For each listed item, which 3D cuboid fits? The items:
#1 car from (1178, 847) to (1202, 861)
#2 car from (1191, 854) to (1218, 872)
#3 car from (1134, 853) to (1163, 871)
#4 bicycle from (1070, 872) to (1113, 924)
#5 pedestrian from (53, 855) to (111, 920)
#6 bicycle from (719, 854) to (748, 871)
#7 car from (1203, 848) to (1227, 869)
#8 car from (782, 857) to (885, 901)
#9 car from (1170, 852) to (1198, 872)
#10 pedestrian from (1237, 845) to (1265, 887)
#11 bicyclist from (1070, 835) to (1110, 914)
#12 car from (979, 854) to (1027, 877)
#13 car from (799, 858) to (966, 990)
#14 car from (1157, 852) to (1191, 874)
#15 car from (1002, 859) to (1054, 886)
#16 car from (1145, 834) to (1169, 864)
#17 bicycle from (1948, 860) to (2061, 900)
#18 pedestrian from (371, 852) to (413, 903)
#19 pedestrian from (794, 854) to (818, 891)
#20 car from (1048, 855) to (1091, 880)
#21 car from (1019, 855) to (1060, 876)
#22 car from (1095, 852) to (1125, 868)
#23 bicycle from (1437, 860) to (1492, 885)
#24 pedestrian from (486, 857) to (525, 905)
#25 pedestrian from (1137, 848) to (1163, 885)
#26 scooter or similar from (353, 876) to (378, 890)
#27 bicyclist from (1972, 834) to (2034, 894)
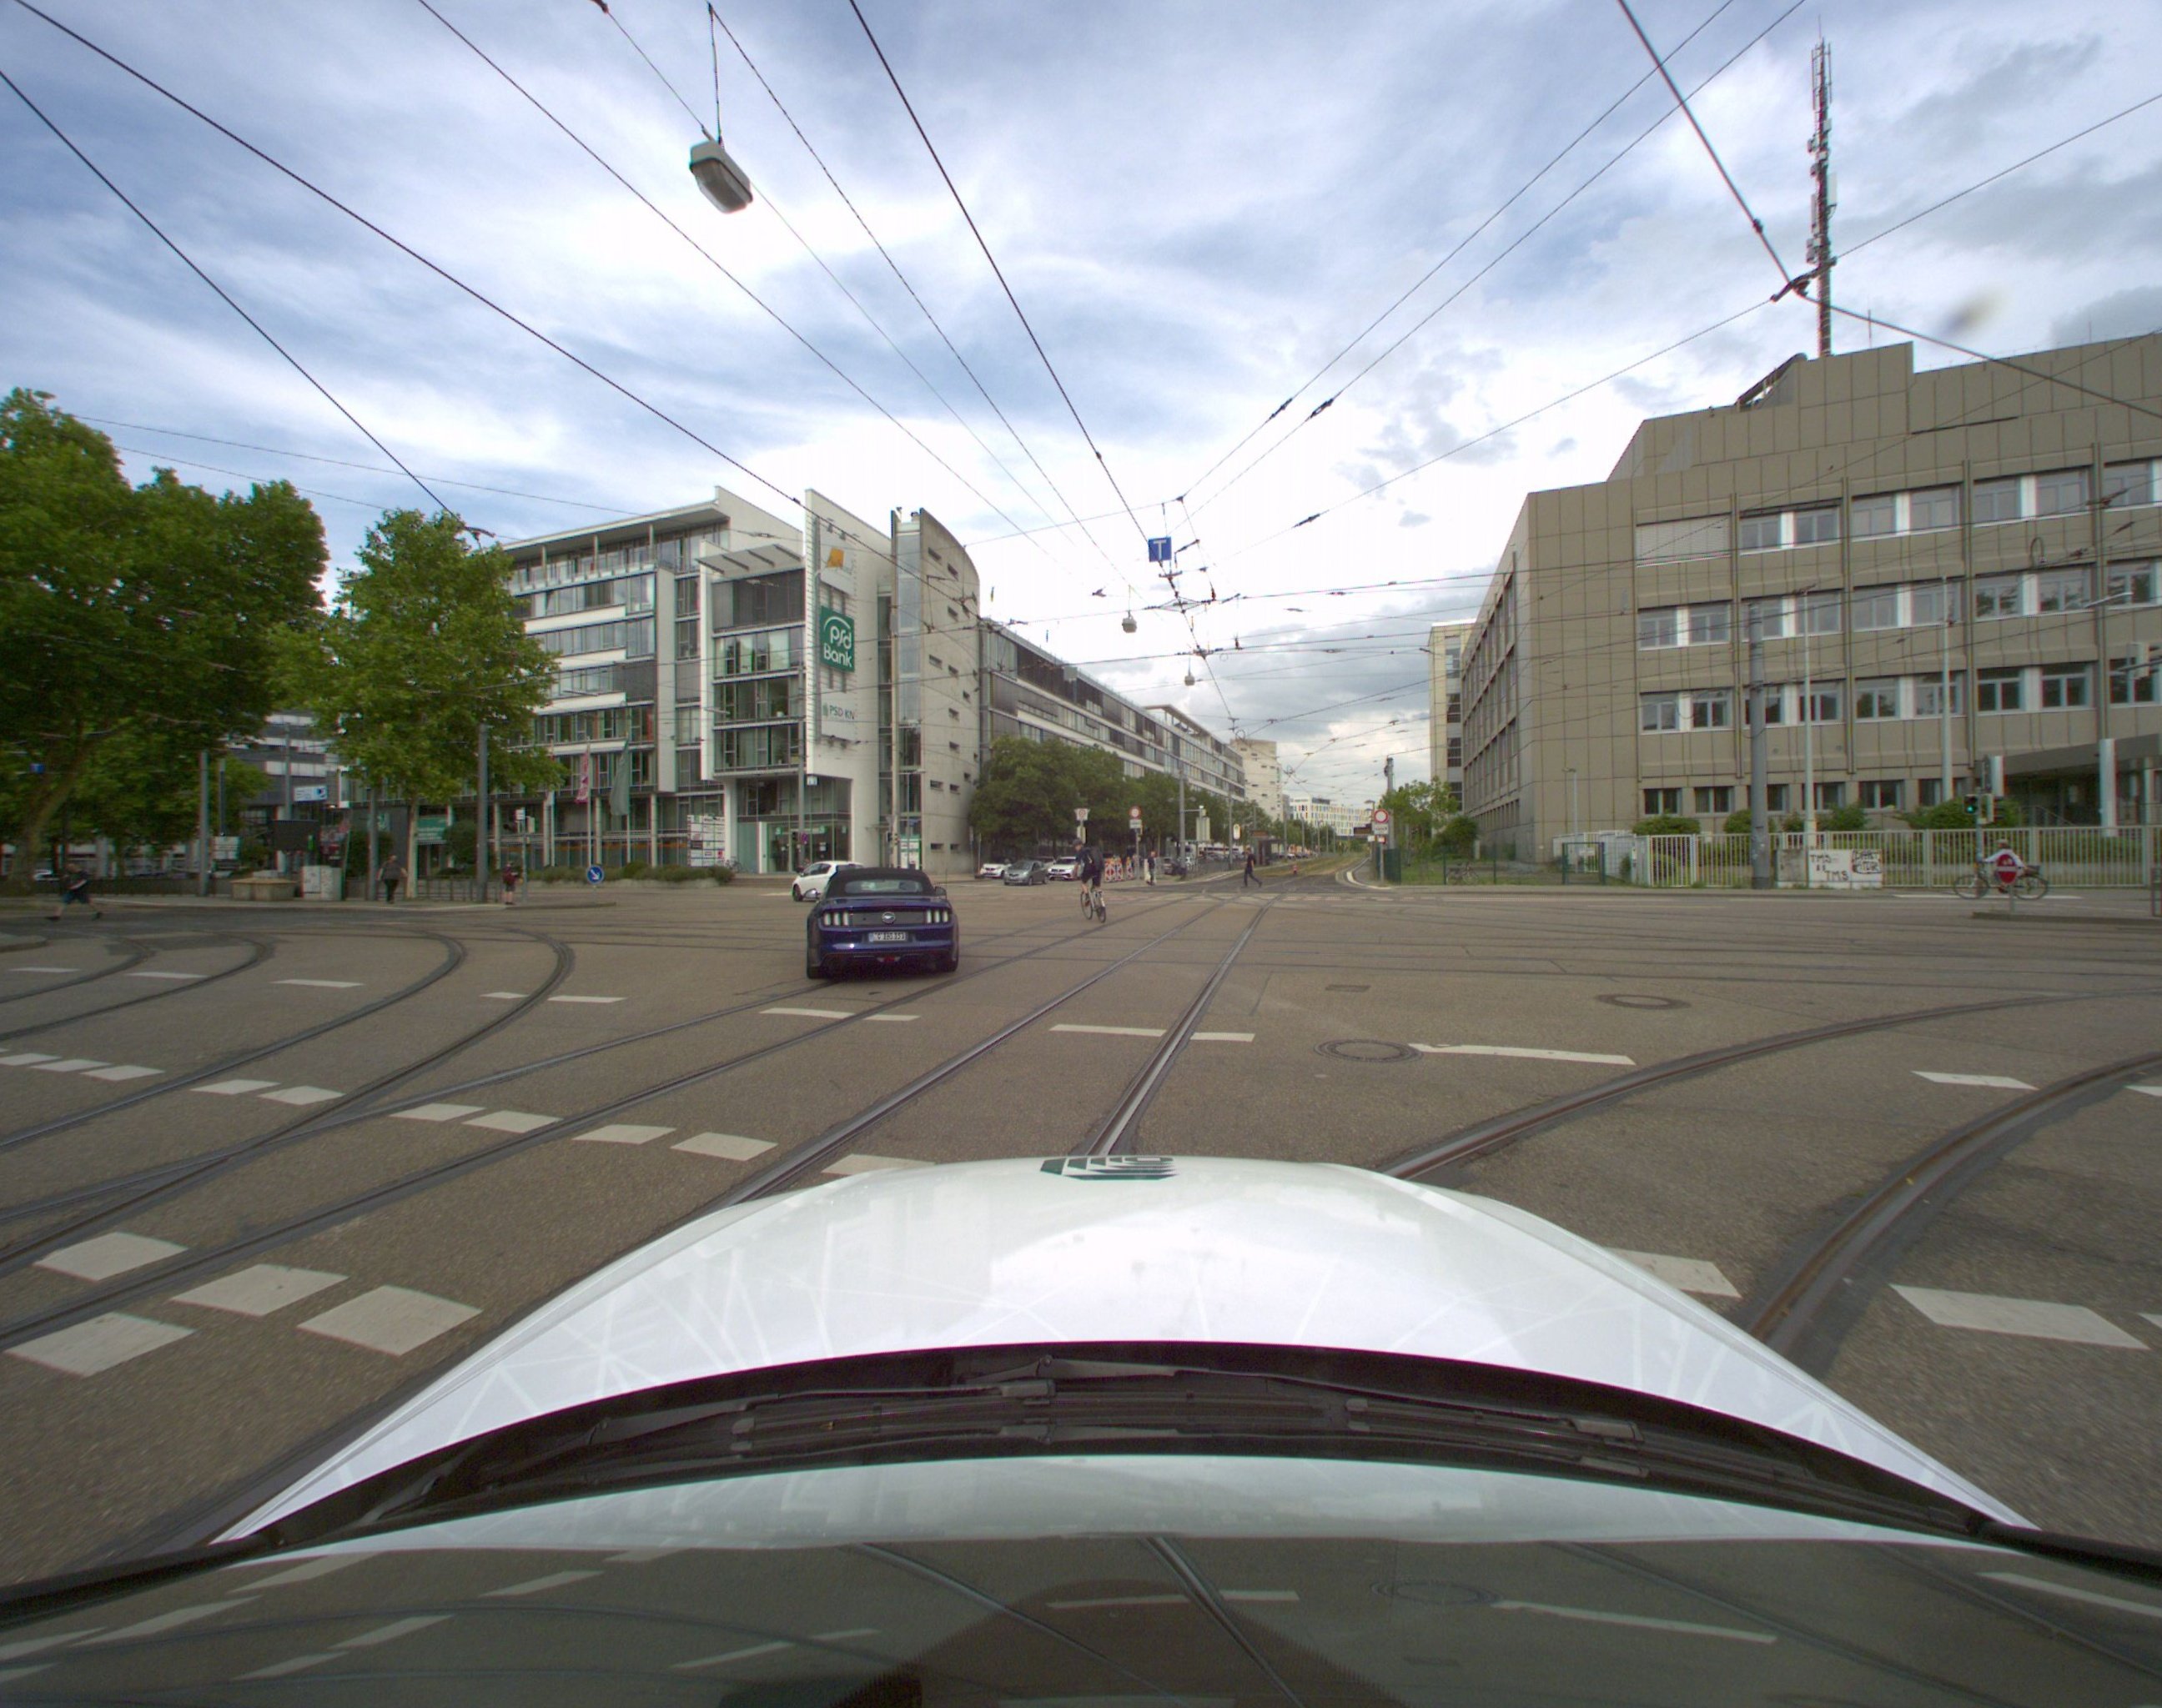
[{"bbox_3d":[12.551,0.014,93.991,1.888,1.585,4.202,1,1,19],"label":"car"},{"bbox_3d":[11.446,0.794,75.278,1.854,1.606,4.230,-1,0,15],"label":"car"},{"bbox_3d":[6.453,0.718,77.217,1.701,1.660,4.153,1,1,19],"label":"car"},{"bbox_3d":[0.217,0.996,19.173,0.799,1.086,2.128,-1,0,-5],"label":"bicycle"},{"bbox_3d":[-30.397,1.000,24.784,0.795,1.899,1.009,-1,0,31],"label":"pedestrian"},{"bbox_3d":[-24.235,0.599,56.777,0.580,1.177,2.124,1,0,17],"label":"bicycle"},{"bbox_3d":[13.136,0.448,79.761,1.772,1.987,4.138,-1,0,16],"label":"car"},{"bbox_3d":[-9.066,0.883,29.693,1.852,1.439,4.135,-1,0,-45],"label":"car"},{"bbox_3d":[8.579,0.649,67.513,1.692,1.606,4.096,-1,0,16],"label":"car"},{"bbox_3d":[7.953,0.564,38.028,1.076,1.898,0.907,-1,0,24],"label":"pedestrian"},{"bbox_3d":[0.201,0.474,19.198,0.795,1.785,1.231,-1,0,-5],"label":"bicyclist"},{"bbox_3d":[-5.633,0.838,59.314,1.814,1.556,4.237,1,1,19],"label":"car"},{"bbox_3d":[-2.892,0.813,11.618,1.880,1.404,4.259,-1,1,-16],"label":"car"},{"bbox_3d":[7.152,0.660,62.329,1.865,1.628,4.104,-1,0,15],"label":"car"},{"bbox_3d":[-3.216,1.085,50.426,1.654,1.506,4.255,1,1,19],"label":"car"},{"bbox_3d":[9.515,-0.678,101.408,1.971,3.636,4.532,1,0,17],"label":"car"},{"bbox_3d":[26.942,0.735,23.818,0.807,1.086,2.158,0,0,-42],"label":"bicycle"},{"bbox_3d":[-25.427,0.859,30.060,0.836,1.855,0.844,-1,0,14],"label":"pedestrian"},{"bbox_3d":[-14.173,0.953,42.021,0.826,1.865,0.770,-1,-1,28],"label":"pedestrian"},{"bbox_3d":[-0.771,0.933,57.540,1.701,1.660,4.153,1,1,19],"label":"car"},{"bbox_3d":[-3.308,0.929,66.173,1.814,1.556,4.237,1,1,19],"label":"car"},{"bbox_3d":[2.977,0.597,83.392,1.971,1.556,4.532,1,1,17],"label":"car"},{"bbox_3d":[16.104,0.787,34.289,0.635,0.981,2.140,-1,-3,-26],"label":"bicycle"},{"bbox_3d":[-20.677,0.953,29.257,0.926,1.671,0.770,-1,0,28],"label":"pedestrian"},{"bbox_3d":[3.561,0.623,41.841,0.979,1.855,0.907,-1,0,31],"label":"pedestrian"},{"bbox_3d":[-49.169,1.976,55.951,1.836,0.950,0.593,-1,0,26],"label":"scooter or similar"},{"bbox_3d":[26.930,0.289,23.805,0.807,1.701,1.168,0,0,-43],"label":"bicyclist"}]
